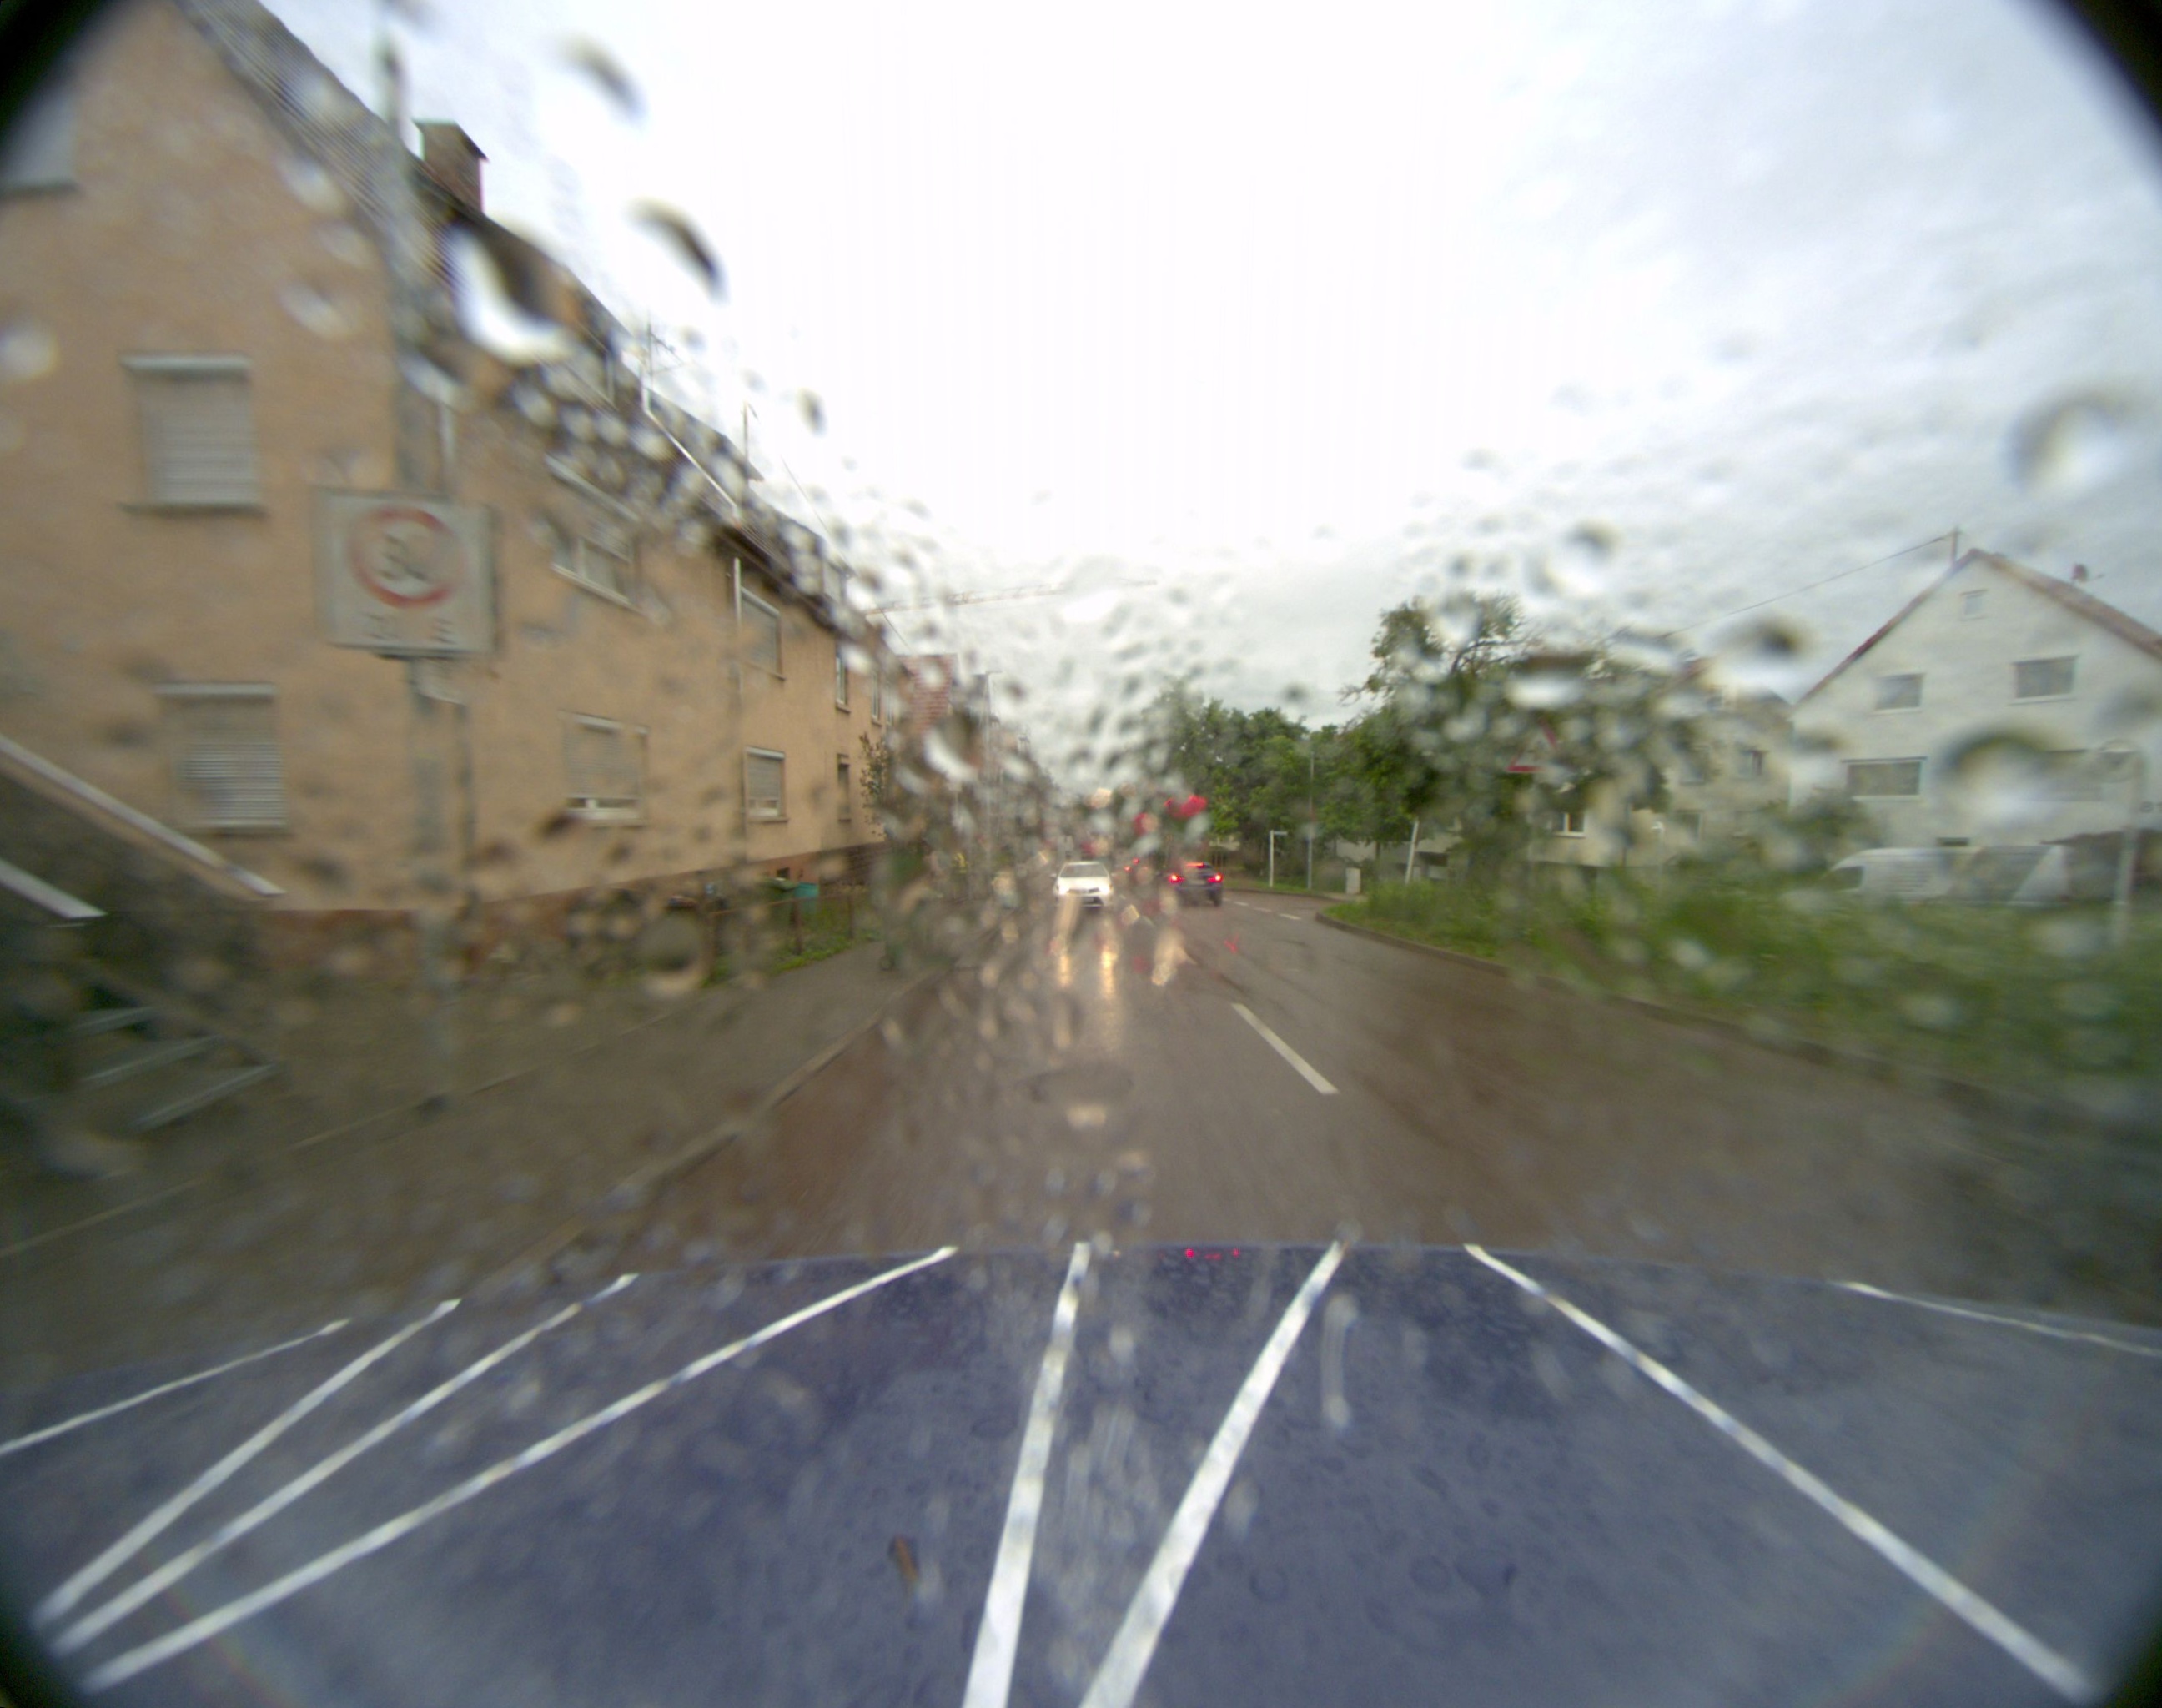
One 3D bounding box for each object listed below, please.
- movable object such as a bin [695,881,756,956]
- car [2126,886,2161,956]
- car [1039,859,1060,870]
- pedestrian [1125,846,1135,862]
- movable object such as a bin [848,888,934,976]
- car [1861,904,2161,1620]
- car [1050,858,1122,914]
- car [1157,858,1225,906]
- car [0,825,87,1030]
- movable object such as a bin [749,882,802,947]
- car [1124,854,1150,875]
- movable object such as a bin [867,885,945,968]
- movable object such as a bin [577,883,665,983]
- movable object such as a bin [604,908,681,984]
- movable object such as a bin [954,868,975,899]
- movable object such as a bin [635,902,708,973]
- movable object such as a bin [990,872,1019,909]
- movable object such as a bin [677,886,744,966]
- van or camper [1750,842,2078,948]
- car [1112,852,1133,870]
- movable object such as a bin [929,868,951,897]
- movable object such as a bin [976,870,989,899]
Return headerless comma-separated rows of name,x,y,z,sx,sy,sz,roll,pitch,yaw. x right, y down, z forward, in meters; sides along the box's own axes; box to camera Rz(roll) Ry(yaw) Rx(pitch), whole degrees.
movable object such as a bin,-5.476,0.987,11.730,0.646,1.086,0.545,3,1,-1
car,26.346,1.559,16.635,1.563,1.539,4.028,-1,1,-34
car,-4.201,1.353,100.403,1.772,1.432,4.057,-1,0,-19
pedestrian,5.729,-0.045,88.239,0.971,1.820,0.894,-1,1,-8
movable object such as a bin,-2.515,1.022,10.130,0.916,1.096,0.702,-1,1,3
car,3.059,0.865,0.311,1.622,1.432,3.737,-1,0,-1
car,0.066,0.891,23.039,1.859,1.427,4.015,-2,1,-4
car,3.572,0.865,25.290,1.723,1.421,3.844,-1,0,1
car,-9.650,0.387,4.709,4.002,1.440,1.781,5,1,-11
movable object such as a bin,-5.489,1.075,13.686,0.662,1.086,0.655,2,1,-1
car,4.027,0.711,54.759,1.564,1.446,4.084,-1,0,0
movable object such as a bin,-2.490,1.020,10.878,0.916,1.096,0.702,-1,1,3
movable object such as a bin,-5.444,0.922,9.025,0.662,1.086,0.545,3,1,-1
movable object such as a bin,-5.568,1.162,9.669,0.639,0.890,0.536,-1,0,0
movable object such as a bin,-4.257,1.076,27.755,0.611,1.070,0.792,3,0,-2
movable object such as a bin,-5.515,1.120,10.263,0.671,0.890,0.536,-1,0,0
movable object such as a bin,-2.289,1.070,22.684,0.721,1.046,0.800,-1,1,3
movable object such as a bin,-5.394,1.040,11.075,0.662,1.086,0.545,3,1,-1
van or camper,23.154,1.022,21.551,1.643,2.542,6.051,-3,1,-30
car,3.917,0.642,72.097,1.755,1.679,4.375,-1,0,0
movable object such as a bin,-5.175,1.048,27.984,0.611,0.961,0.792,5,0,-2
movable object such as a bin,-3.559,1.091,27.550,0.380,1.012,0.487,-1,1,1
